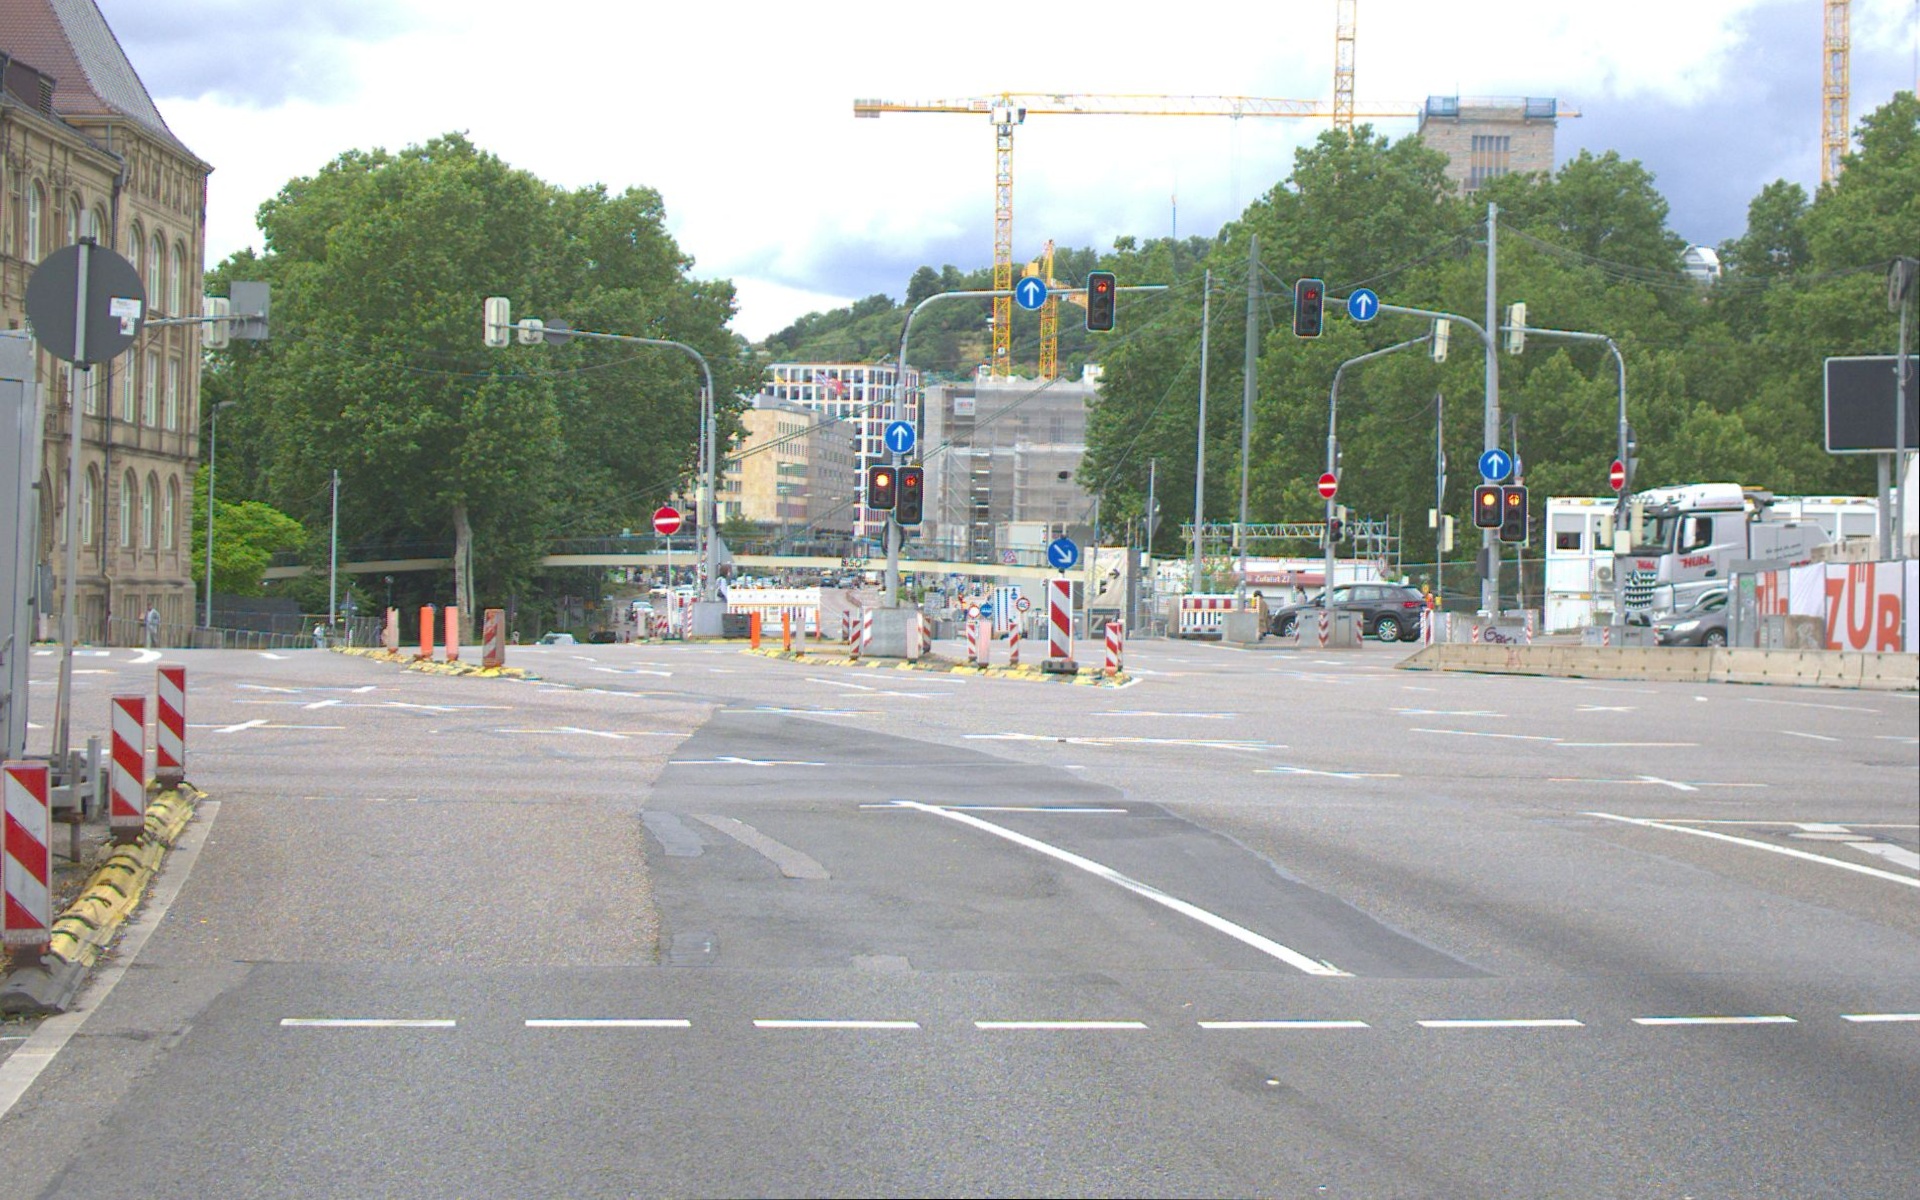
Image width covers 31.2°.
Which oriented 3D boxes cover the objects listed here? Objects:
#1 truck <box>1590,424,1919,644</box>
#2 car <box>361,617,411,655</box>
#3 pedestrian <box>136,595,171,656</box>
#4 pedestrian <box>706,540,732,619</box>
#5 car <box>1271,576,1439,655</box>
[{"bbox_3d":[19.979,-1.489,80.988,9.712,4.943,3.114,1,0,-18],"label":"truck"},{"bbox_3d":[-28.826,1.804,172.676,1.993,1.831,4.001,1,1,-3],"label":"car"},{"bbox_3d":[-26.766,0.848,114.142,0.950,2.007,0.766,1,0,2],"label":"pedestrian"},{"bbox_3d":[-5.665,-0.479,80.905,0.585,1.834,0.604,1,0,-4],"label":"pedestrian"},{"bbox_3d":[10.515,0.407,91.512,3.993,2.007,1.997,1,1,27],"label":"car"}]
